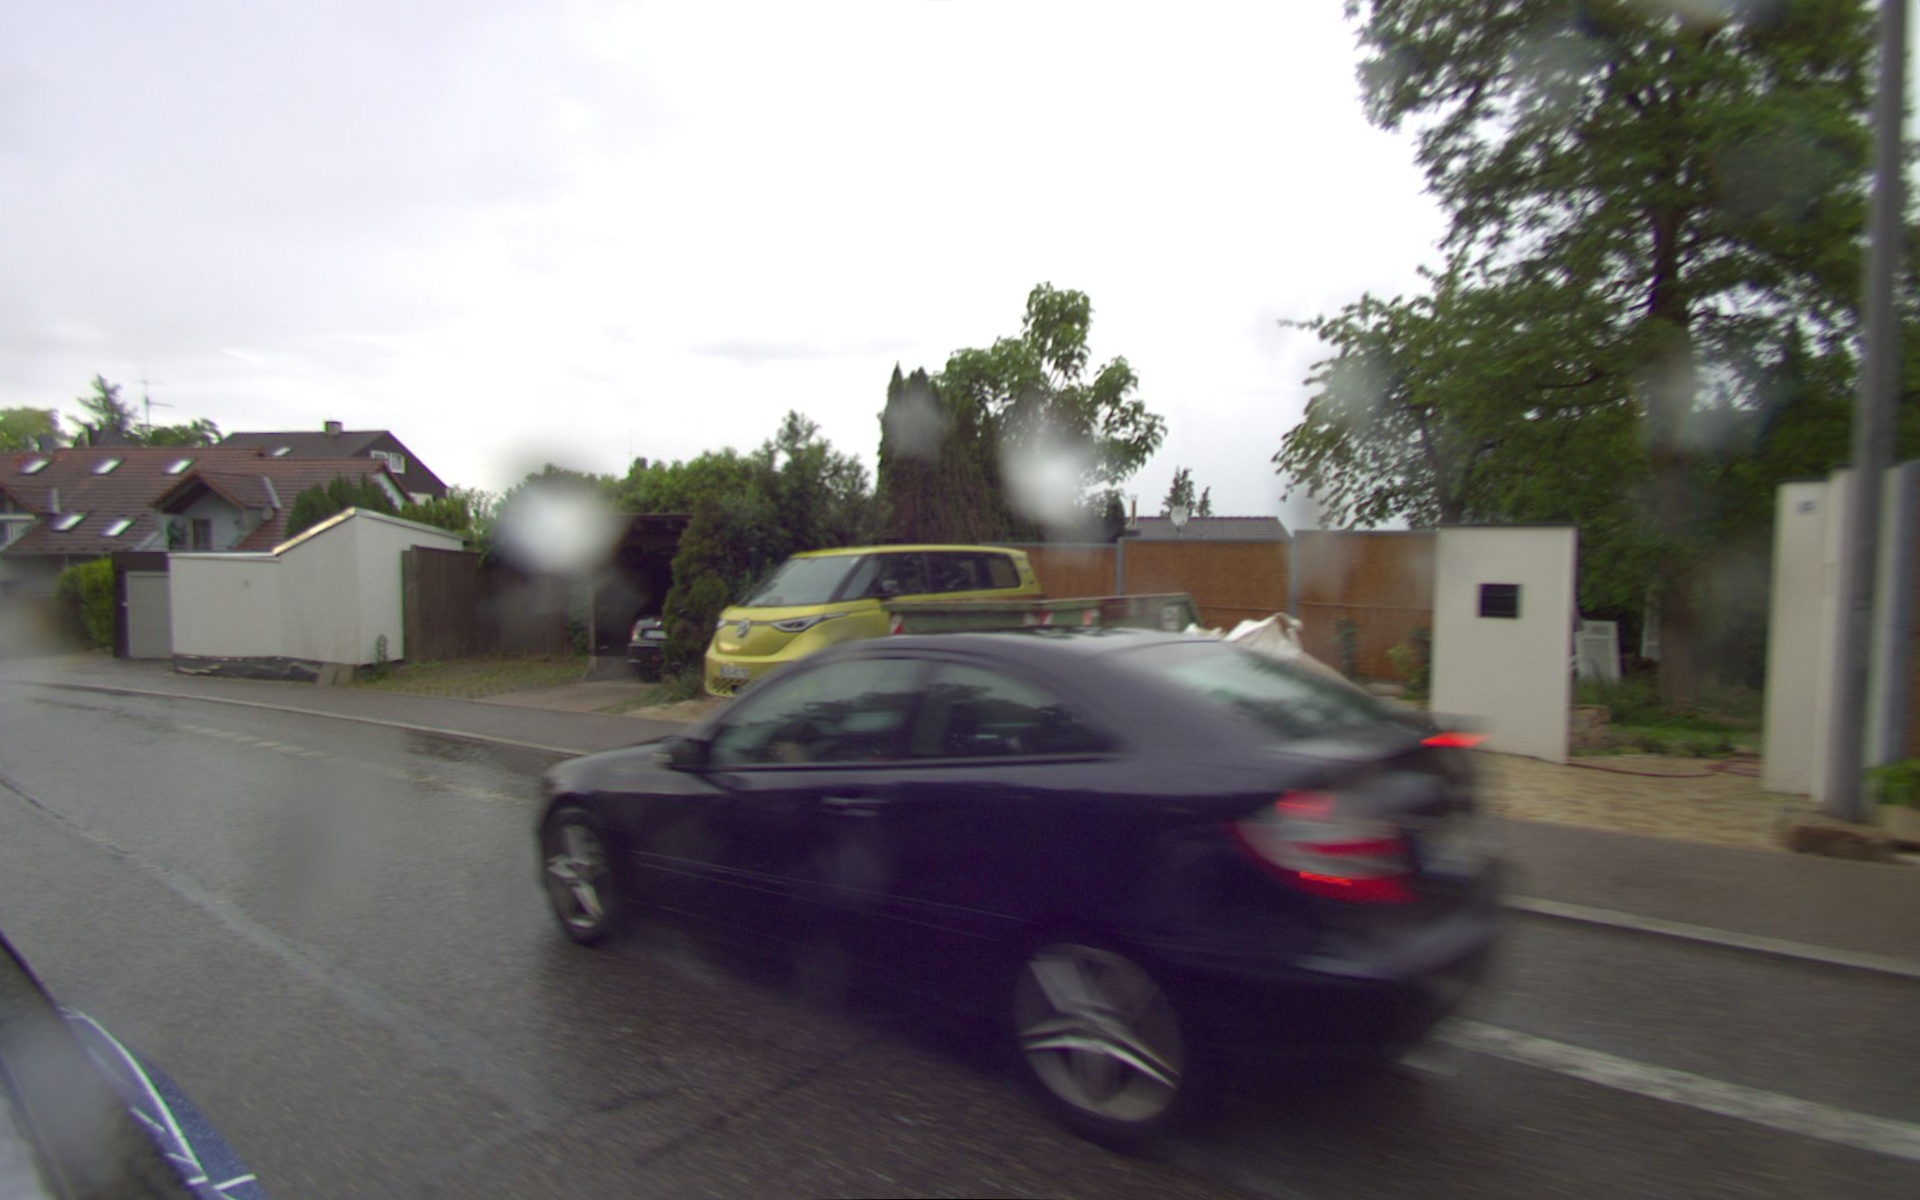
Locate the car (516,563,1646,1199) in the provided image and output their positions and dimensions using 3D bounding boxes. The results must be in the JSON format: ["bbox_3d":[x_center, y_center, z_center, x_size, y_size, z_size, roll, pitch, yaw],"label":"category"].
[{"bbox_3d":[0.090,0.681,4.024,4.168,1.523,1.815,0,1,42],"label":"car"}]

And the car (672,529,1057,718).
[{"bbox_3d":[-0.981,0.190,12.378,2.089,1.873,4.456,-1,1,41],"label":"car"}]

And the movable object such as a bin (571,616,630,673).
[{"bbox_3d":[-5.941,0.727,16.753,0.616,0.911,0.681,-1,0,26],"label":"movable object such as a bin"}]

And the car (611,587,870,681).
[{"bbox_3d":[-3.400,0.480,16.339,1.786,1.313,3.962,-1,0,34],"label":"car"}]
